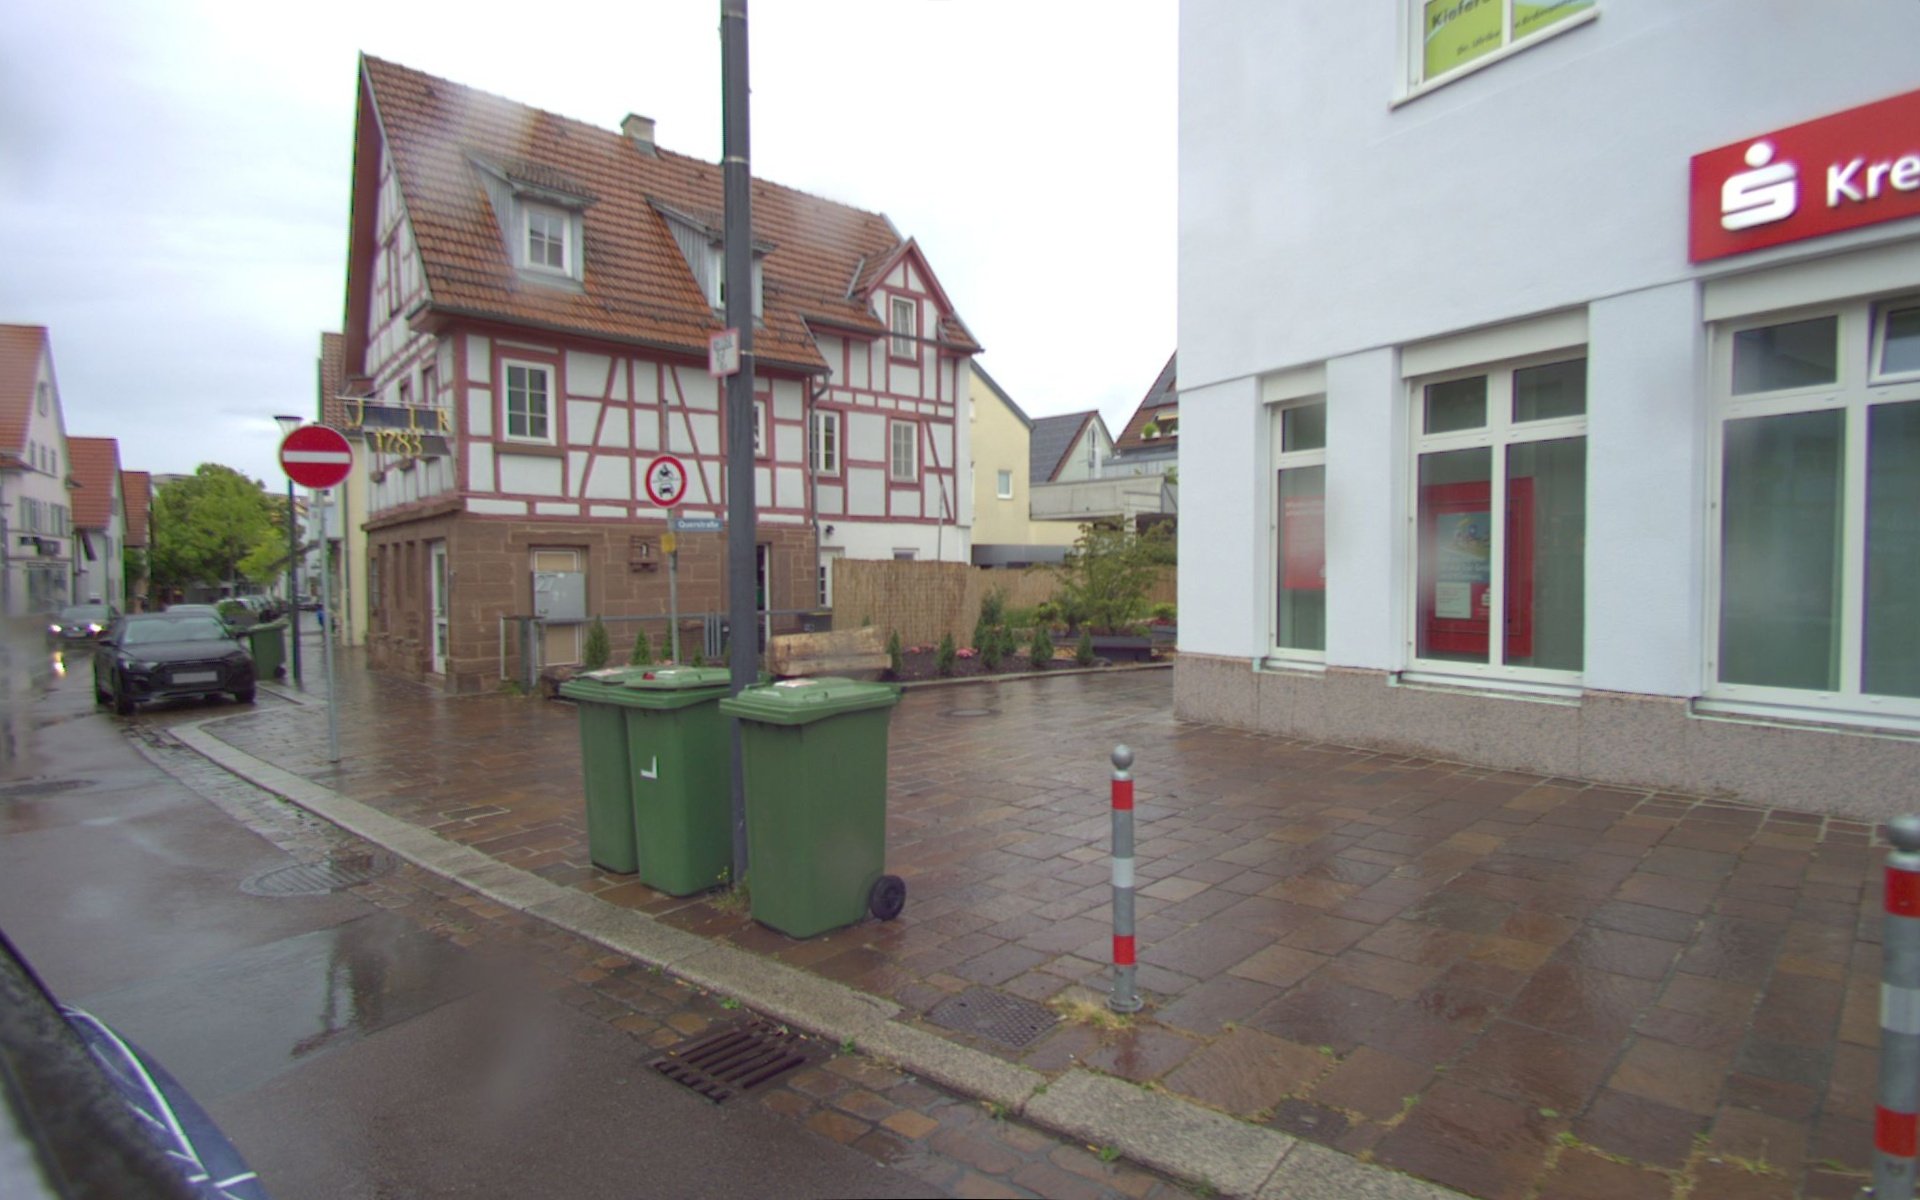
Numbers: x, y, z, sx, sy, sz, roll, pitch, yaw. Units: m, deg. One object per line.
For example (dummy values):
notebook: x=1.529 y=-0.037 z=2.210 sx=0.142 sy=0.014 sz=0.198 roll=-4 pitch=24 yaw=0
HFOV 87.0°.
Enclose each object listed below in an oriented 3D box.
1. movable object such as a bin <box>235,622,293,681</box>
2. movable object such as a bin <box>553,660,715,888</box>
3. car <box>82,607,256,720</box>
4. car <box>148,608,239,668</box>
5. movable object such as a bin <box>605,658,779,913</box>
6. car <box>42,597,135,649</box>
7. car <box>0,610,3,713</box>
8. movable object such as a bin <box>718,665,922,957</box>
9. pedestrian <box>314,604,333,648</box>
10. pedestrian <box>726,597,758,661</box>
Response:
movable object such as a bin: x=-14.029 y=1.013 z=20.395 sx=0.823 sy=1.120 sz=0.920 roll=-1 pitch=0 yaw=-43
movable object such as a bin: x=-1.771 y=0.899 z=5.508 sx=0.651 sy=1.090 sz=0.553 roll=-1 pitch=0 yaw=-45
car: x=-12.817 y=0.921 z=16.301 sx=4.002 sy=1.497 sz=1.671 roll=-1 pitch=3 yaw=45
car: x=-22.867 y=1.070 z=30.320 sx=1.967 sy=1.540 sz=4.010 roll=-4 pitch=2 yaw=-36
movable object such as a bin: x=-1.346 y=0.879 z=5.092 sx=0.651 sy=1.123 sz=0.553 roll=-1 pitch=0 yaw=-45
car: x=-31.368 y=0.784 z=36.545 sx=1.966 sy=1.763 sz=4.011 roll=-1 pitch=0 yaw=-33
car: x=-14.892 y=0.937 z=14.430 sx=1.711 sy=1.567 sz=3.849 roll=-1 pitch=0 yaw=-42
movable object such as a bin: x=-0.617 y=0.868 z=4.476 sx=0.613 sy=1.104 sz=0.651 roll=-1 pitch=0 yaw=43
pedestrian: x=-19.295 y=0.789 z=30.689 sx=0.448 sy=1.317 sz=0.518 roll=-1 pitch=0 yaw=-35
pedestrian: x=-4.061 y=0.536 z=18.844 sx=0.406 sy=1.163 sz=0.425 roll=-1 pitch=0 yaw=-42
